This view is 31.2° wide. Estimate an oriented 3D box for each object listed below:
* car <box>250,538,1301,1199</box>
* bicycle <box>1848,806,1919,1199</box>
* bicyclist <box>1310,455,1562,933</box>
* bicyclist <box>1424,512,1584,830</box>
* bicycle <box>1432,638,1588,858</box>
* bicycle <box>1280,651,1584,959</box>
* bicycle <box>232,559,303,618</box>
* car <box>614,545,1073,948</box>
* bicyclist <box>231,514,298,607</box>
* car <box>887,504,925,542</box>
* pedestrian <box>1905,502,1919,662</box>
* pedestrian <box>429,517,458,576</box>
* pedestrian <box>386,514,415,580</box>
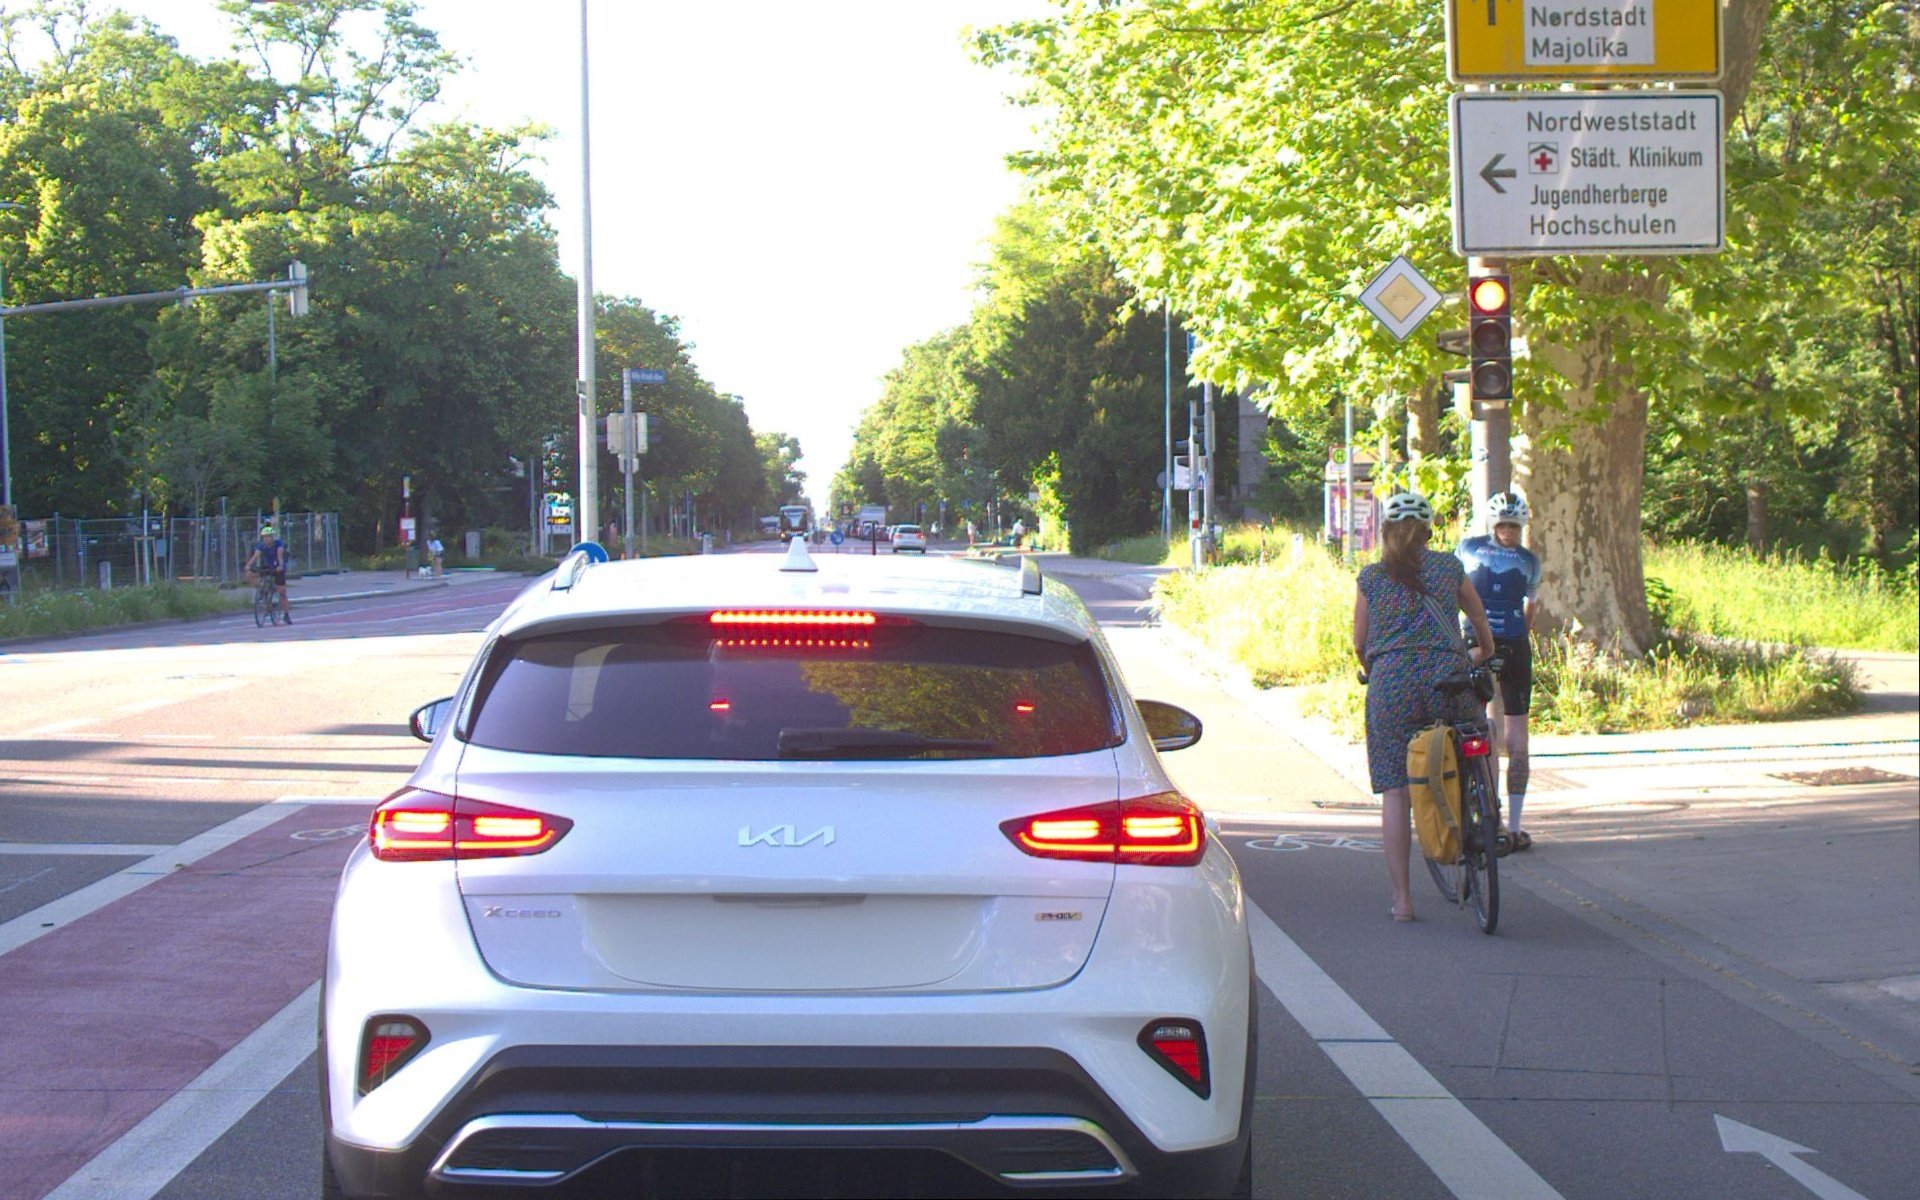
[{"bbox_3d":[-0.382,0.610,7.944,1.821,1.475,3.937,0,1,-2],"label":"car"},{"bbox_3d":[2.130,0.938,5.765,0.668,1.006,2.081,1,1,-2],"label":"bicycle"},{"bbox_3d":[1.855,0.341,13.547,0.753,1.789,1.165,1,1,-2],"label":"bicyclist"},{"bbox_3d":[2.631,0.332,16.664,0.554,1.473,0.717,-4,1,-2],"label":"bicyclist"},{"bbox_3d":[2.654,0.694,16.684,0.401,0.953,1.551,-4,1,-2],"label":"bicycle"},{"bbox_3d":[1.838,0.765,13.809,0.758,1.009,2.570,1,1,-2],"label":"bicycle"},{"bbox_3d":[-12.250,-0.216,60.907,0.663,0.985,2.504,-1,1,2],"label":"bicycle"},{"bbox_3d":[-0.514,0.534,14.962,1.728,1.478,3.517,-1,1,-2],"label":"car"},{"bbox_3d":[-12.273,-0.703,60.679,0.875,1.603,1.188,-1,1,1],"label":"bicyclist"},{"bbox_3d":[-2.890,-4.161,185.115,1.993,2.007,4.000,-2,1,-1],"label":"car"},{"bbox_3d":[9.477,-0.165,32.477,0.818,1.512,0.916,0,1,-2],"label":"pedestrian"},{"bbox_3d":[-15.852,-1.640,105.533,0.785,1.779,0.751,0,1,0],"label":"pedestrian"},{"bbox_3d":[-17.125,-1.607,105.153,0.641,2.007,0.753,0,1,12],"label":"pedestrian"}]
